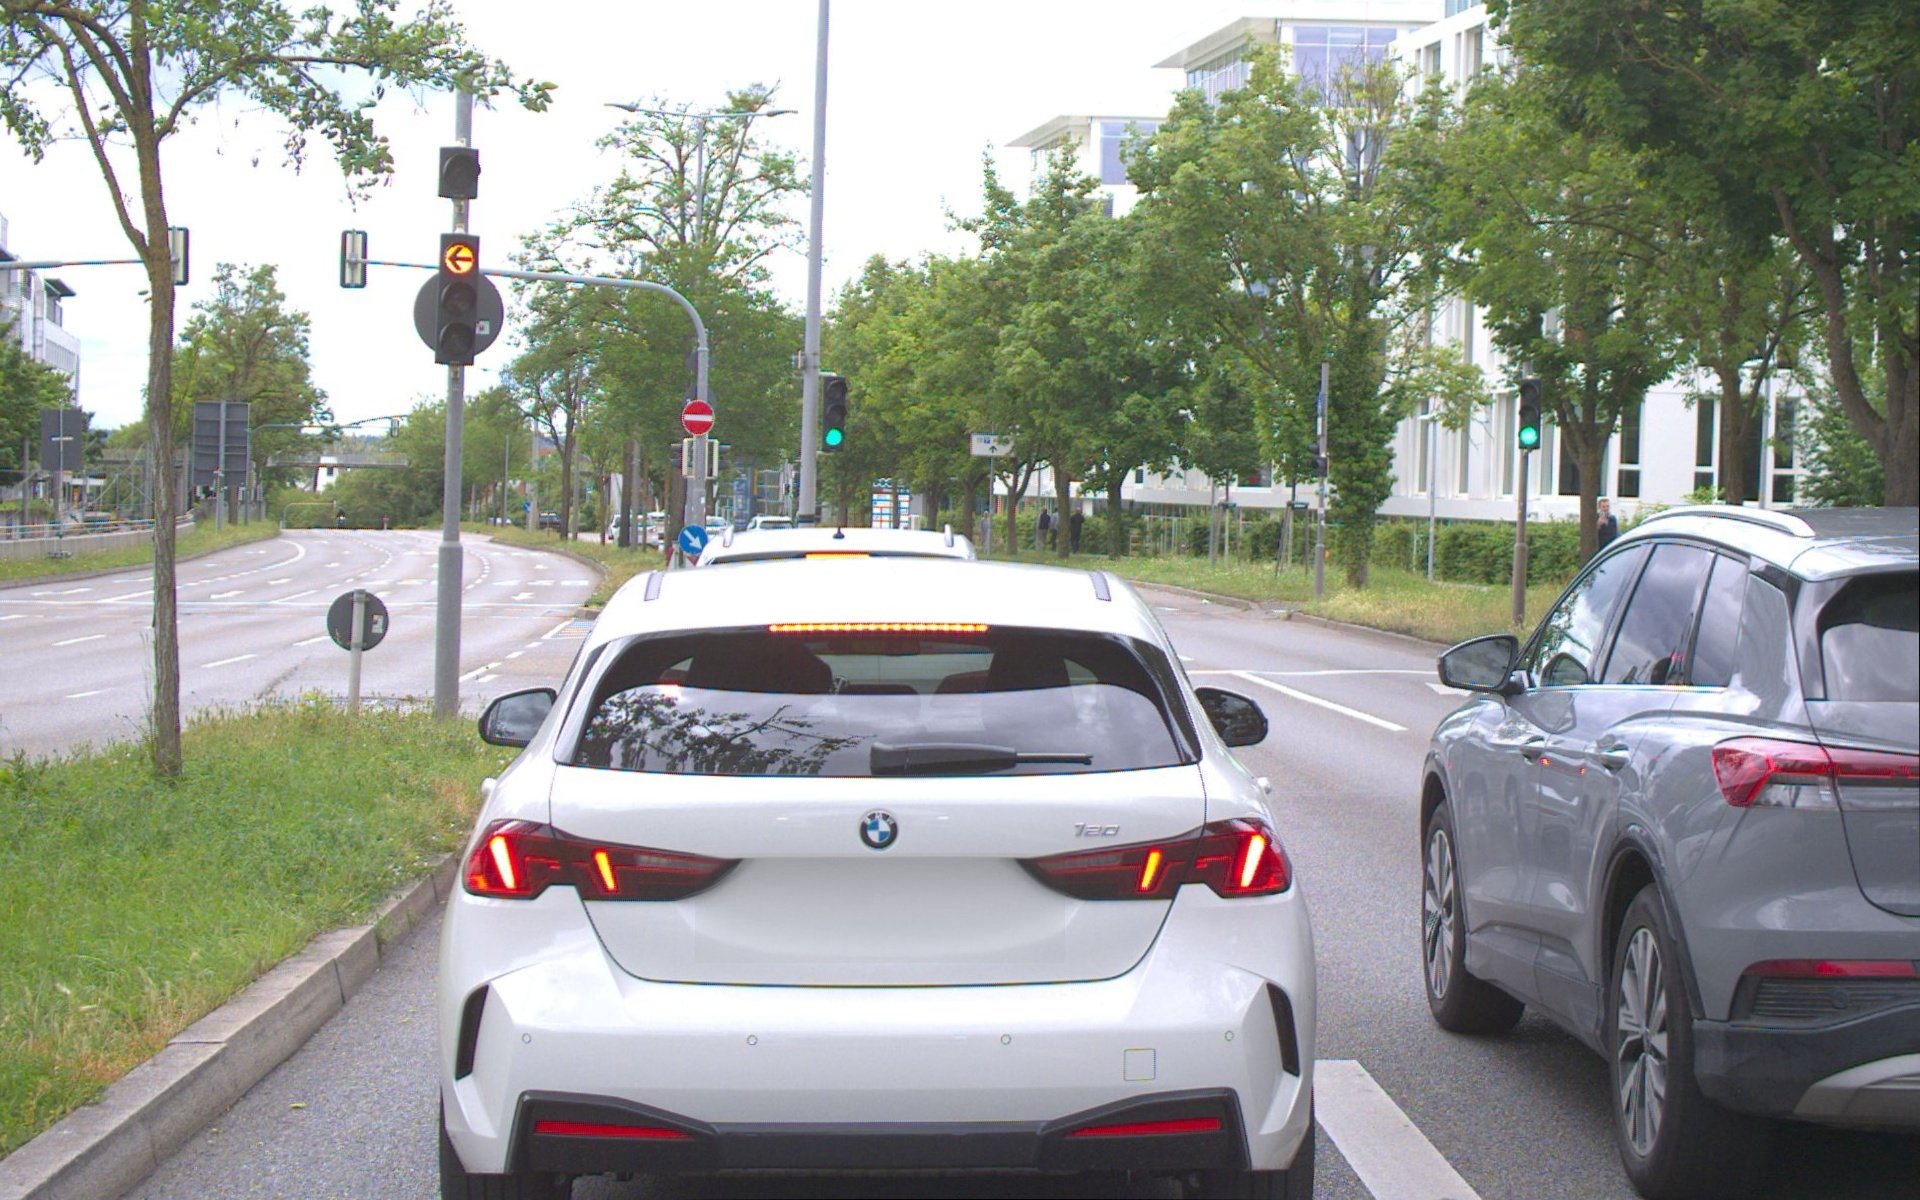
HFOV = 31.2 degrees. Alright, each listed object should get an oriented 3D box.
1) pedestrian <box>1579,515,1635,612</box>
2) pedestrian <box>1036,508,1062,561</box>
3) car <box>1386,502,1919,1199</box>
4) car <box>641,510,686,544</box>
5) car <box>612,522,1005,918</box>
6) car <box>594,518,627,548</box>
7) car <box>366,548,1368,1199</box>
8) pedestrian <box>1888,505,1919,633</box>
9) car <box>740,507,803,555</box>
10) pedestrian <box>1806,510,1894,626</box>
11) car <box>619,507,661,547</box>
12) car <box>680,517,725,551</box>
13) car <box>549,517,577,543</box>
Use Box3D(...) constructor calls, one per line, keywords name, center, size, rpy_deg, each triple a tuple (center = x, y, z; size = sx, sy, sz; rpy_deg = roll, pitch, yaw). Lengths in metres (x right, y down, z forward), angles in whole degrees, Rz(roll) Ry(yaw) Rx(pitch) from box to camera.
Box3D(name="pedestrian", center=(10.532, -0.594, 55.975), size=(0.741, 1.568, 0.674), rpy_deg=(1, 0, -1))
Box3D(name="pedestrian", center=(3.461, -2.549, 133.595), size=(0.762, 2.007, 0.754), rpy_deg=(1, 1, -15))
Box3D(name="car", center=(2.371, 0.580, 8.968), size=(1.891, 1.590, 4.314), rpy_deg=(1, 1, -1))
Box3D(name="car", center=(-15.355, -3.759, 177.979), size=(1.993, 1.726, 4.001), rpy_deg=(1, 1, -10))
Box3D(name="car", center=(-0.634, 0.447, 15.862), size=(1.549, 1.563, 4.000), rpy_deg=(1, 1, -1))
Box3D(name="car", center=(-20.310, -3.889, 199.890), size=(1.738, 1.661, 4.001), rpy_deg=(1, 1, -4))
Box3D(name="car", center=(-0.197, 0.618, 8.344), size=(1.822, 1.433, 4.000), rpy_deg=(1, 1, -1))
Box3D(name="pedestrian", center=(12.187, -0.387, 43.351), size=(0.699, 1.590, 0.883), rpy_deg=(1, 0, -1))
Box3D(name="car", center=(-6.797, -2.477, 123.510), size=(1.993, 1.664, 4.001), rpy_deg=(-1, 1, -7))
Box3D(name="pedestrian", center=(11.275, -0.402, 43.576), size=(0.789, 1.443, 1.112), rpy_deg=(1, 0, -1))
Box3D(name="car", center=(-13.902, -3.156, 149.314), size=(1.695, 1.711, 4.001), rpy_deg=(1, 1, -7))
Box3D(name="car", center=(-11.486, -2.960, 153.367), size=(1.692, 1.481, 3.694), rpy_deg=(1, 1, -9))
Box3D(name="car", center=(-25.879, -4.573, 224.351), size=(1.601, 1.661, 4.001), rpy_deg=(1, 1, -4))
